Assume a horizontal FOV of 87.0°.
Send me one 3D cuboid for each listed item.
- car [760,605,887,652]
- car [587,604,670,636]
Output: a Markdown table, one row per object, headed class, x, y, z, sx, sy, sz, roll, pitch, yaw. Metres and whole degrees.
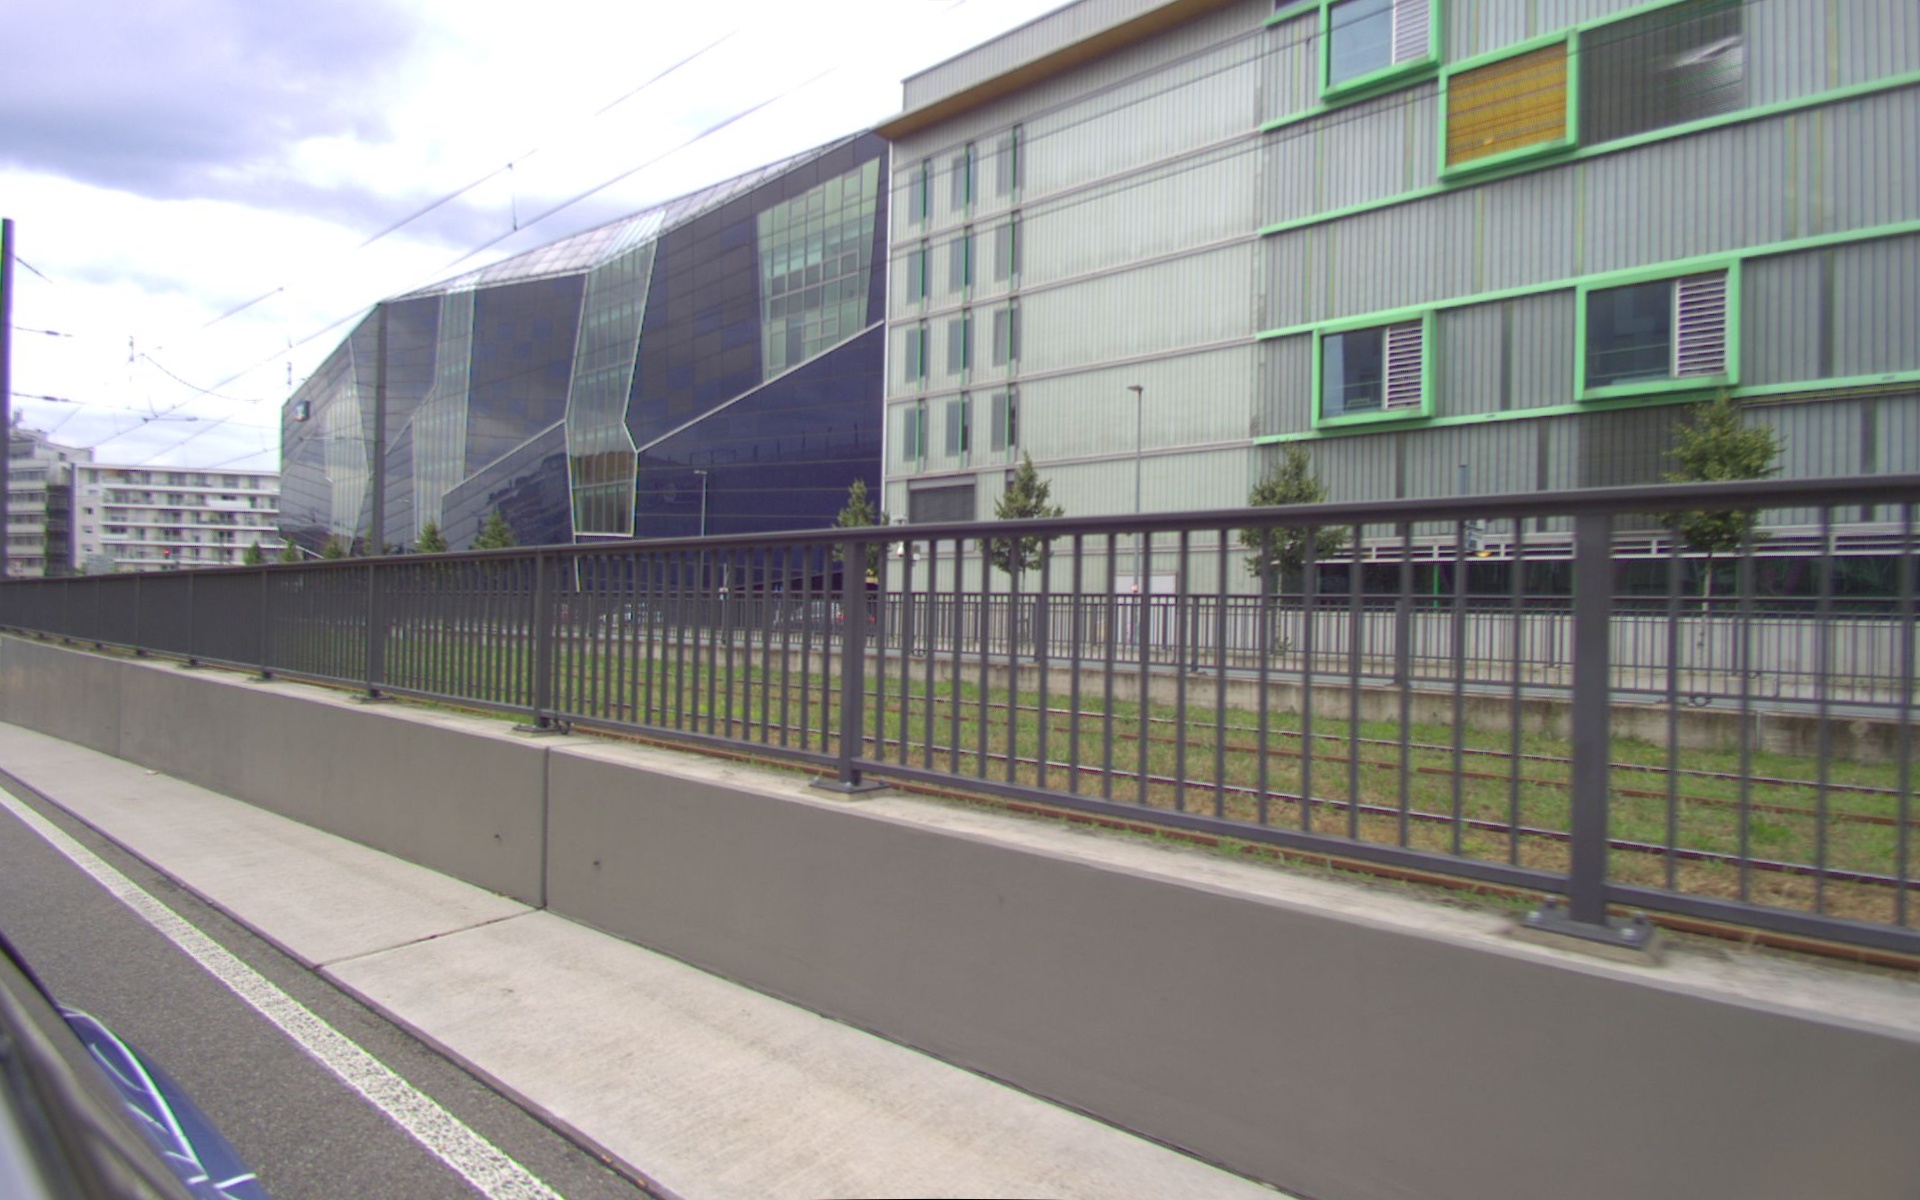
| class | x | y | z | sx | sy | sz | roll | pitch | yaw |
| --- | --- | --- | --- | --- | --- | --- | --- | --- | --- |
| car | -4.995 | 1.053 | 36.485 | 4.766 | 1.605 | 1.972 | -2 | -3 | 43 |
| car | -17.633 | 1.085 | 53.732 | 4.762 | 1.605 | 1.974 | -2 | -3 | 39 |
